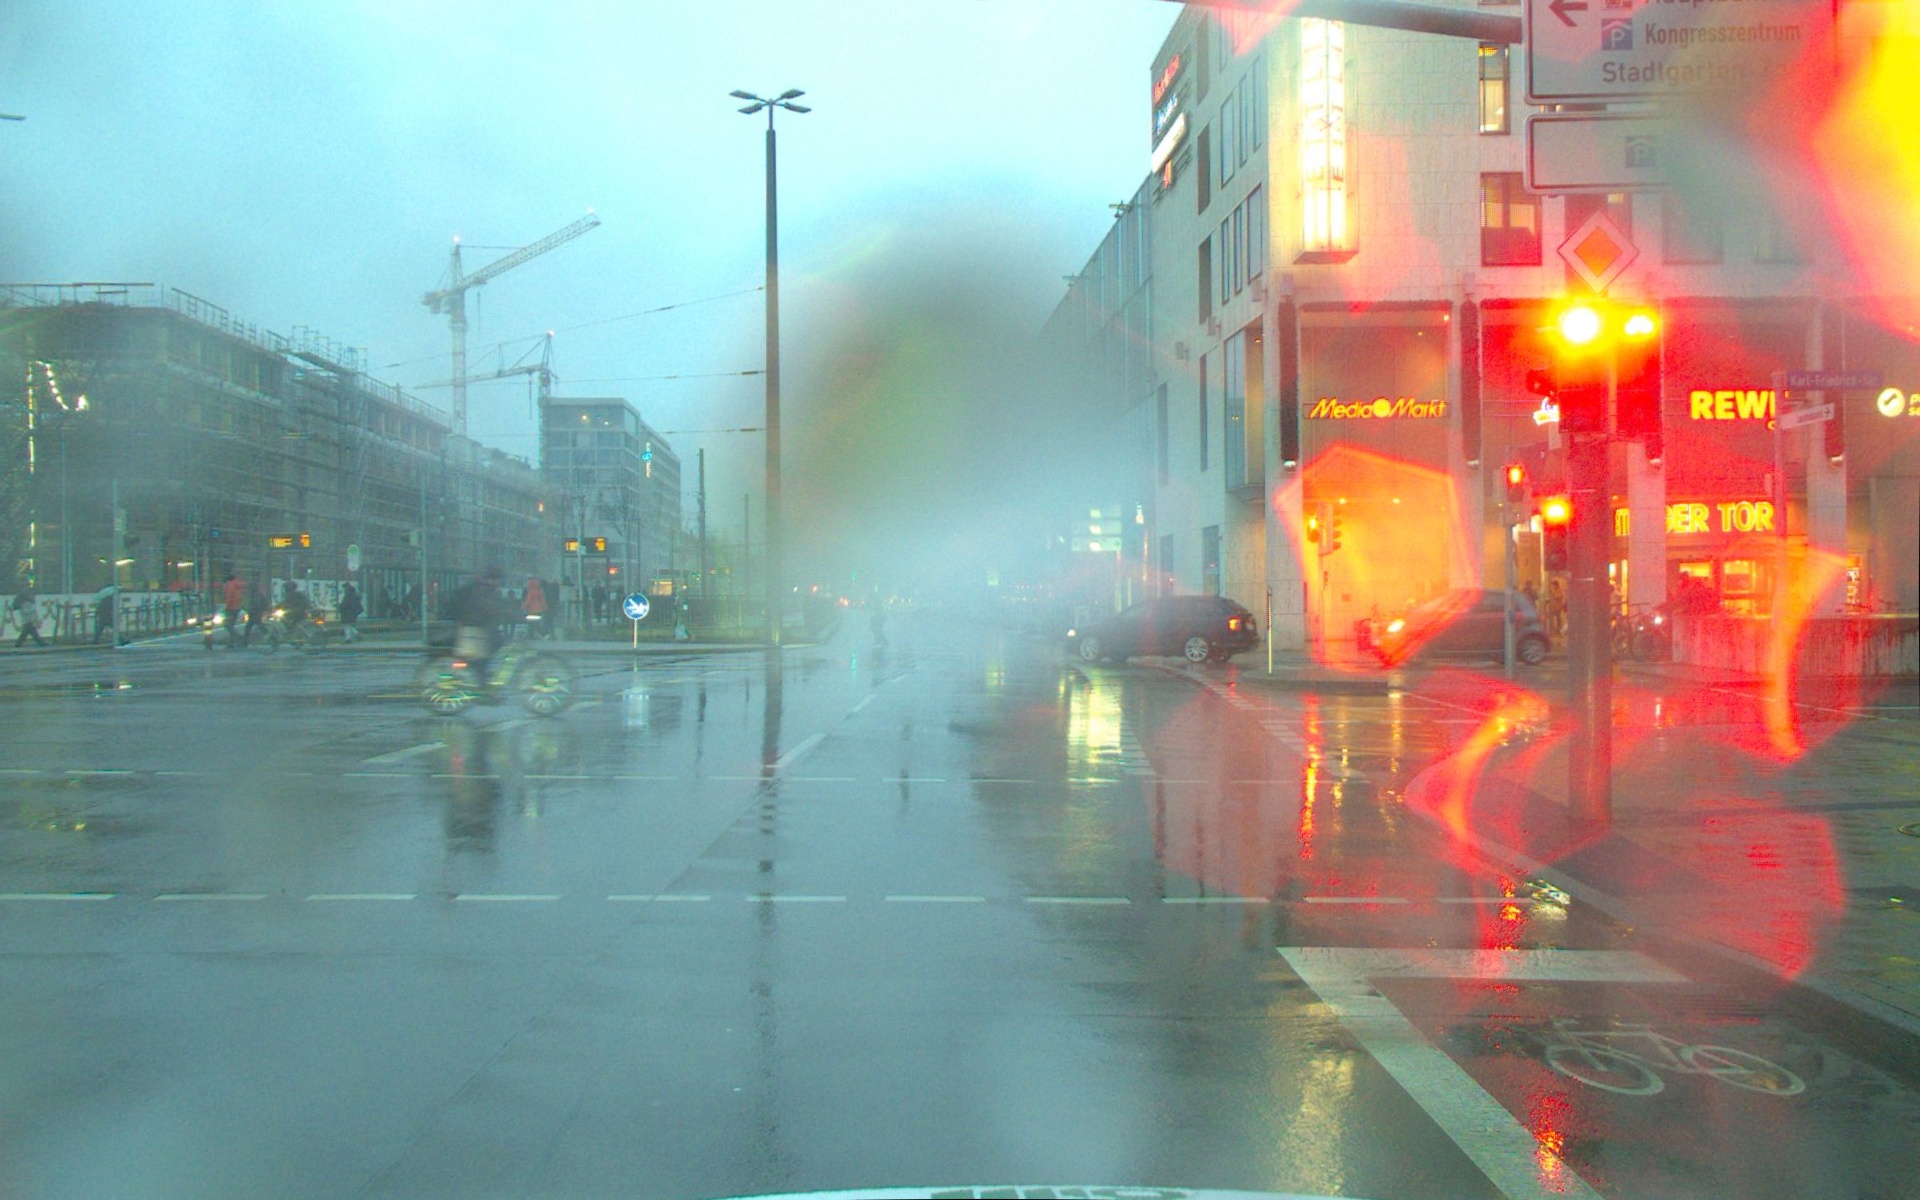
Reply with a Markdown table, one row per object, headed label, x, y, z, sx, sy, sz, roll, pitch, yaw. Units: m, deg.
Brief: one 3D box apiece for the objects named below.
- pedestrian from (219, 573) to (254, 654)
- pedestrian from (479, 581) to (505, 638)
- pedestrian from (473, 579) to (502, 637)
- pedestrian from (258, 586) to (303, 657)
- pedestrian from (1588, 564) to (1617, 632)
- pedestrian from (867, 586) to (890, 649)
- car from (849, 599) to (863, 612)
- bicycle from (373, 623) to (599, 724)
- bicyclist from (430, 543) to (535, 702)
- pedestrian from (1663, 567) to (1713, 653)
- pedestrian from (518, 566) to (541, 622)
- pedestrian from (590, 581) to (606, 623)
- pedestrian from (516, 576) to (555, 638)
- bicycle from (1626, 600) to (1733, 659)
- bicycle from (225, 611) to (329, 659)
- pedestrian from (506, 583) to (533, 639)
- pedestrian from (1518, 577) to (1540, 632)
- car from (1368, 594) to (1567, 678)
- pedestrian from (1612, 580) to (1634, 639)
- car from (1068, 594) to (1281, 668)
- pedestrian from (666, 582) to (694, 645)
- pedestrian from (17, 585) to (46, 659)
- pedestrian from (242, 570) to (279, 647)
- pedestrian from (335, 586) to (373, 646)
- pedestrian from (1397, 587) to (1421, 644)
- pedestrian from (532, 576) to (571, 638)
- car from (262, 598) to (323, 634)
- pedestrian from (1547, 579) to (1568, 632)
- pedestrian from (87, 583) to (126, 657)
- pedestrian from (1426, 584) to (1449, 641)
| label | x | y | z | sx | sy | sz | roll | pitch | yaw |
| --- | --- | --- | --- | --- | --- | --- | --- | --- | --- |
| pedestrian | -19.019 | 0.346 | 43.458 | 0.682 | 2.124 | 0.604 | 0 | 0 | -41 |
| pedestrian | -13.770 | 0.286 | 48.675 | 0.603 | 1.647 | 0.703 | -1 | 0 | -25 |
| pedestrian | -14.694 | 0.253 | 51.449 | 0.606 | 1.776 | 0.613 | -1 | 0 | 20 |
| pedestrian | -15.493 | 0.489 | 37.738 | 0.798 | 1.597 | 0.536 | -1 | 0 | -5 |
| pedestrian | 16.256 | -0.050 | 41.834 | 0.526 | 1.715 | 0.547 | -1 | 0 | 37 |
| pedestrian | -2.336 | 0.504 | 47.553 | 0.620 | 1.803 | 0.483 | -1 | 0 | -2 |
| car | -14.909 | 0.730 | 236.844 | 1.850 | 1.814 | 3.713 | 1 | -1 | -1 |
| bicycle | -5.246 | 0.800 | 18.410 | 2.328 | 1.051 | 0.616 | -1 | 0 | -8 |
| bicyclist | -5.305 | 0.240 | 18.414 | 1.014 | 1.726 | 0.616 | -1 | 0 | -8 |
| pedestrian | 13.988 | 0.196 | 31.805 | 0.764 | 1.623 | 0.613 | -1 | 0 | 14 |
| pedestrian | -13.764 | -0.195 | 52.849 | 0.607 | 1.776 | 0.612 | -1 | 0 | -6 |
| pedestrian | -15.361 | 0.080 | 70.232 | 0.648 | 1.776 | 0.619 | -1 | 0 | -11 |
| pedestrian | -11.757 | 0.197 | 45.800 | 0.813 | 1.709 | 0.619 | -1 | 0 | 18 |
| bicycle | 13.844 | 0.570 | 31.861 | 1.806 | 1.112 | 0.618 | -1 | 0 | 14 |
| bicycle | -15.550 | 0.797 | 37.693 | 2.087 | 1.009 | 0.541 | 2 | -4 | -6 |
| pedestrian | -12.909 | 0.314 | 48.478 | 0.731 | 1.635 | 0.808 | -1 | 0 | -17 |
| pedestrian | 18.270 | 0.141 | 53.132 | 0.526 | 1.748 | 0.500 | -1 | 0 | 37 |
| car | 10.338 | 0.732 | 33.838 | 3.498 | 1.610 | 1.675 | -1 | -1 | -3 |
| pedestrian | 20.339 | 0.299 | 50.732 | 0.501 | 1.791 | 0.374 | -1 | 0 | -1 |
| car | 4.851 | 0.684 | 37.376 | 4.445 | 1.601 | 1.796 | -1 | 0 | 24 |
| pedestrian | -8.035 | 0.381 | 47.463 | 0.688 | 1.791 | 0.652 | -1 | 0 | -1 |
| pedestrian | -25.891 | 0.600 | 46.116 | 0.498 | 2.049 | 0.638 | -1 | 0 | -11 |
| pedestrian | -18.782 | 0.233 | 44.401 | 0.770 | 2.049 | 0.604 | -1 | 0 | -39 |
| pedestrian | -16.899 | 0.443 | 46.123 | 0.692 | 1.647 | 0.680 | -1 | 0 | 22 |
| pedestrian | 13.673 | 0.471 | 50.348 | 0.526 | 1.748 | 0.500 | -1 | 0 | 37 |
| pedestrian | -11.457 | 0.202 | 46.401 | 0.825 | 1.718 | 0.677 | -1 | 0 | 19 |
| car | -39.437 | 0.945 | 97.809 | 1.953 | 2.049 | 3.999 | -1 | 0 | -1 |
| pedestrian | 19.917 | 0.178 | 55.137 | 0.526 | 1.748 | 0.500 | -1 | 0 | 37 |
| pedestrian | -23.936 | 0.564 | 46.378 | 0.778 | 2.049 | 0.745 | -1 | 0 | -11 |
| pedestrian | 14.602 | 0.379 | 50.603 | 0.526 | 1.748 | 0.500 | -1 | 0 | 37 |
